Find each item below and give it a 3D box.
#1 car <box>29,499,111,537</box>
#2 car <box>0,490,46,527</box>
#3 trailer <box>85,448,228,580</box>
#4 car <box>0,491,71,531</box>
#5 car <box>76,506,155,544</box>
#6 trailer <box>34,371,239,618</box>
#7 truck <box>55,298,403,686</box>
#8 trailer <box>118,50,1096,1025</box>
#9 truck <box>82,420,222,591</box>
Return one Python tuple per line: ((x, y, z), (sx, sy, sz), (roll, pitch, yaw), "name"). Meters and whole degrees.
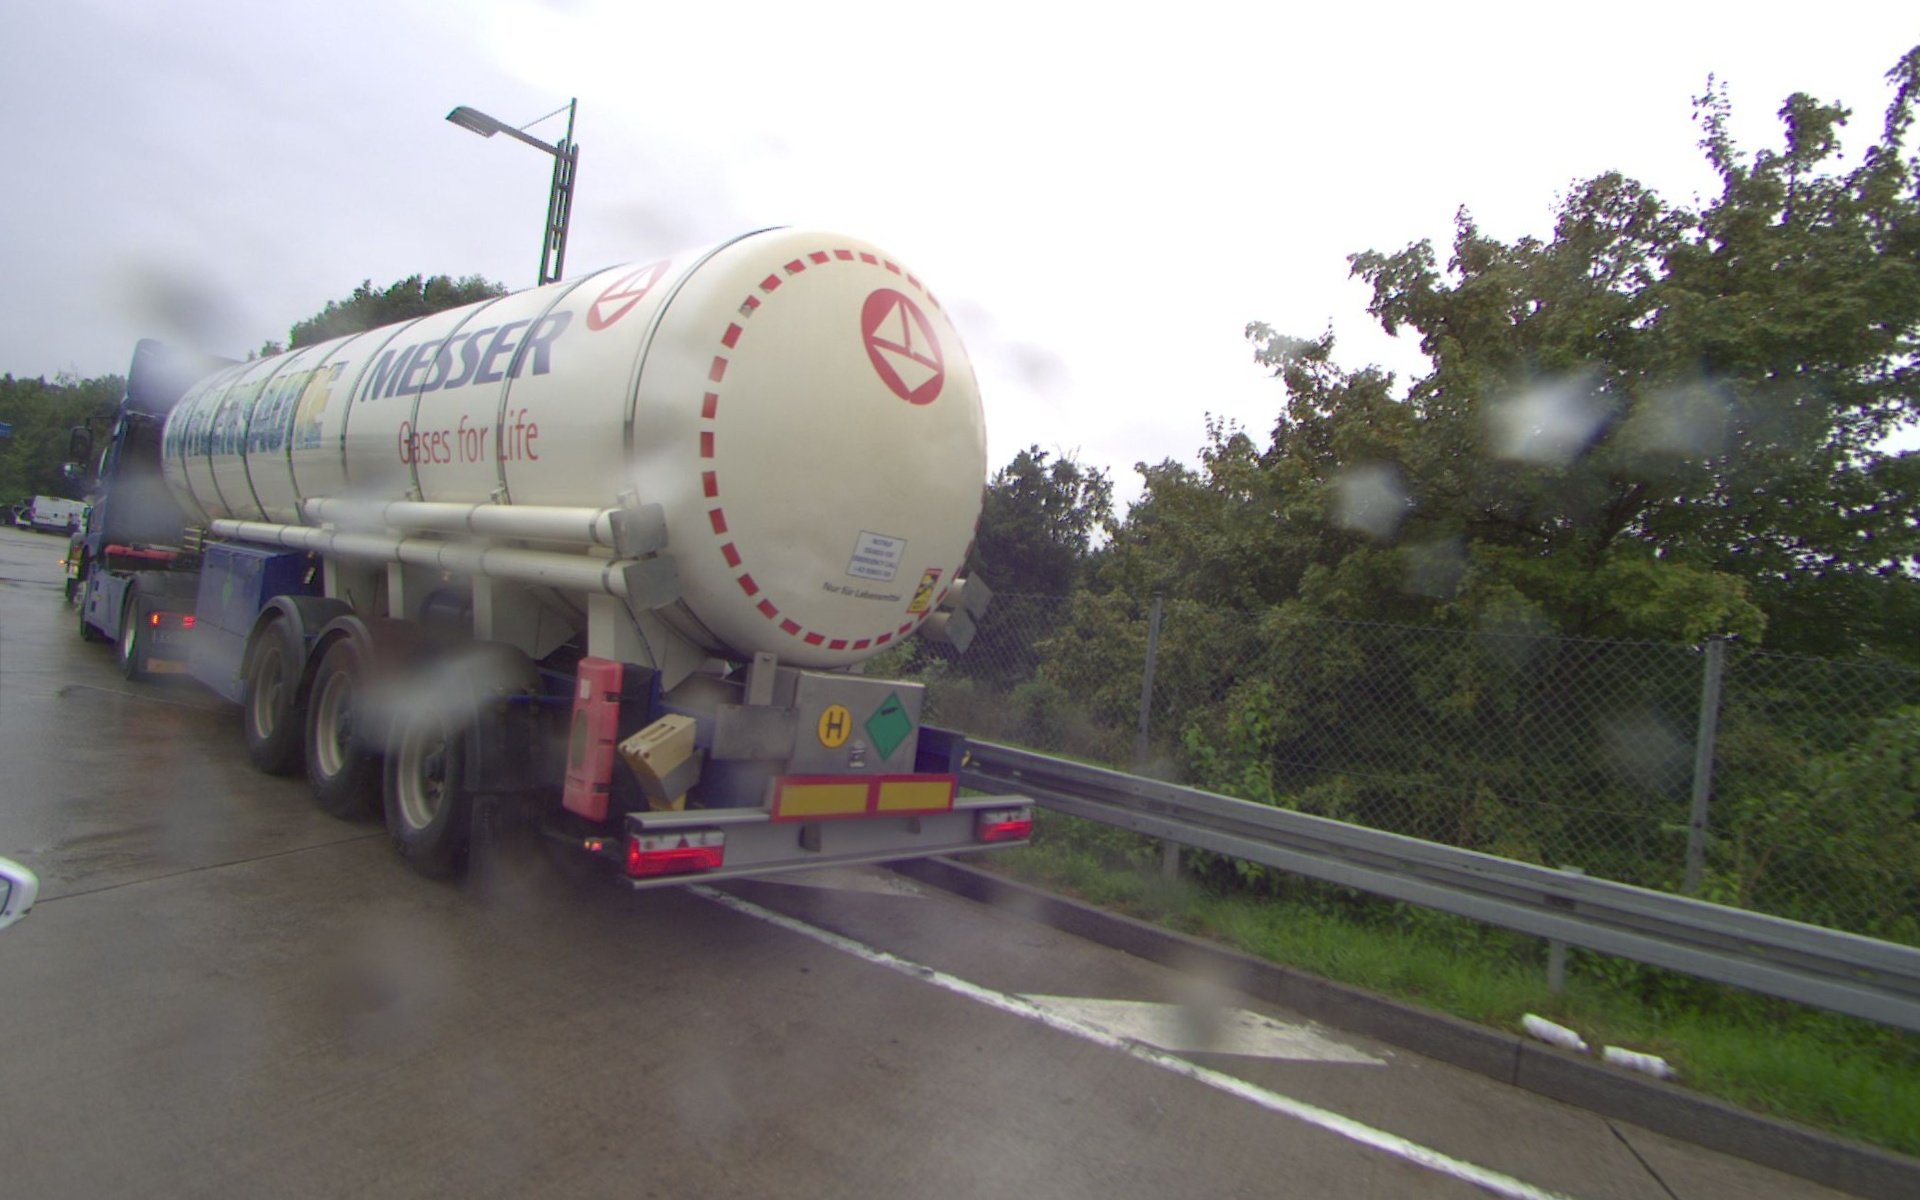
((-54.125, -4.953, 61.274), (2.089, 1.747, 3.987), (8, -2, -17), "car")
((-61.055, -5.968, 64.272), (2.089, 1.959, 4.178), (8, -2, -17), "car")
((-25.453, -2.590, 32.195), (2.167, 3.431, 7.505), (8, -2, -31), "trailer")
((-57.738, -5.520, 62.424), (2.089, 1.959, 4.178), (8, -2, -17), "car")
((-51.293, -4.534, 61.220), (2.089, 1.747, 3.987), (8, -2, -17), "car")
((-15.886, -1.850, 19.746), (2.122, 3.480, 10.147), (8, -2, -38), "trailer")
((-8.760, -1.132, 11.866), (4.681, 3.571, 2.051), (6, -2, 42), "truck")
((-3.935, -0.468, 7.516), (10.181, 3.261, 1.978), (6, -2, 43), "trailer")
((-19.943, -2.249, 24.999), (2.136, 3.553, 4.599), (8, -2, -37), "truck")
